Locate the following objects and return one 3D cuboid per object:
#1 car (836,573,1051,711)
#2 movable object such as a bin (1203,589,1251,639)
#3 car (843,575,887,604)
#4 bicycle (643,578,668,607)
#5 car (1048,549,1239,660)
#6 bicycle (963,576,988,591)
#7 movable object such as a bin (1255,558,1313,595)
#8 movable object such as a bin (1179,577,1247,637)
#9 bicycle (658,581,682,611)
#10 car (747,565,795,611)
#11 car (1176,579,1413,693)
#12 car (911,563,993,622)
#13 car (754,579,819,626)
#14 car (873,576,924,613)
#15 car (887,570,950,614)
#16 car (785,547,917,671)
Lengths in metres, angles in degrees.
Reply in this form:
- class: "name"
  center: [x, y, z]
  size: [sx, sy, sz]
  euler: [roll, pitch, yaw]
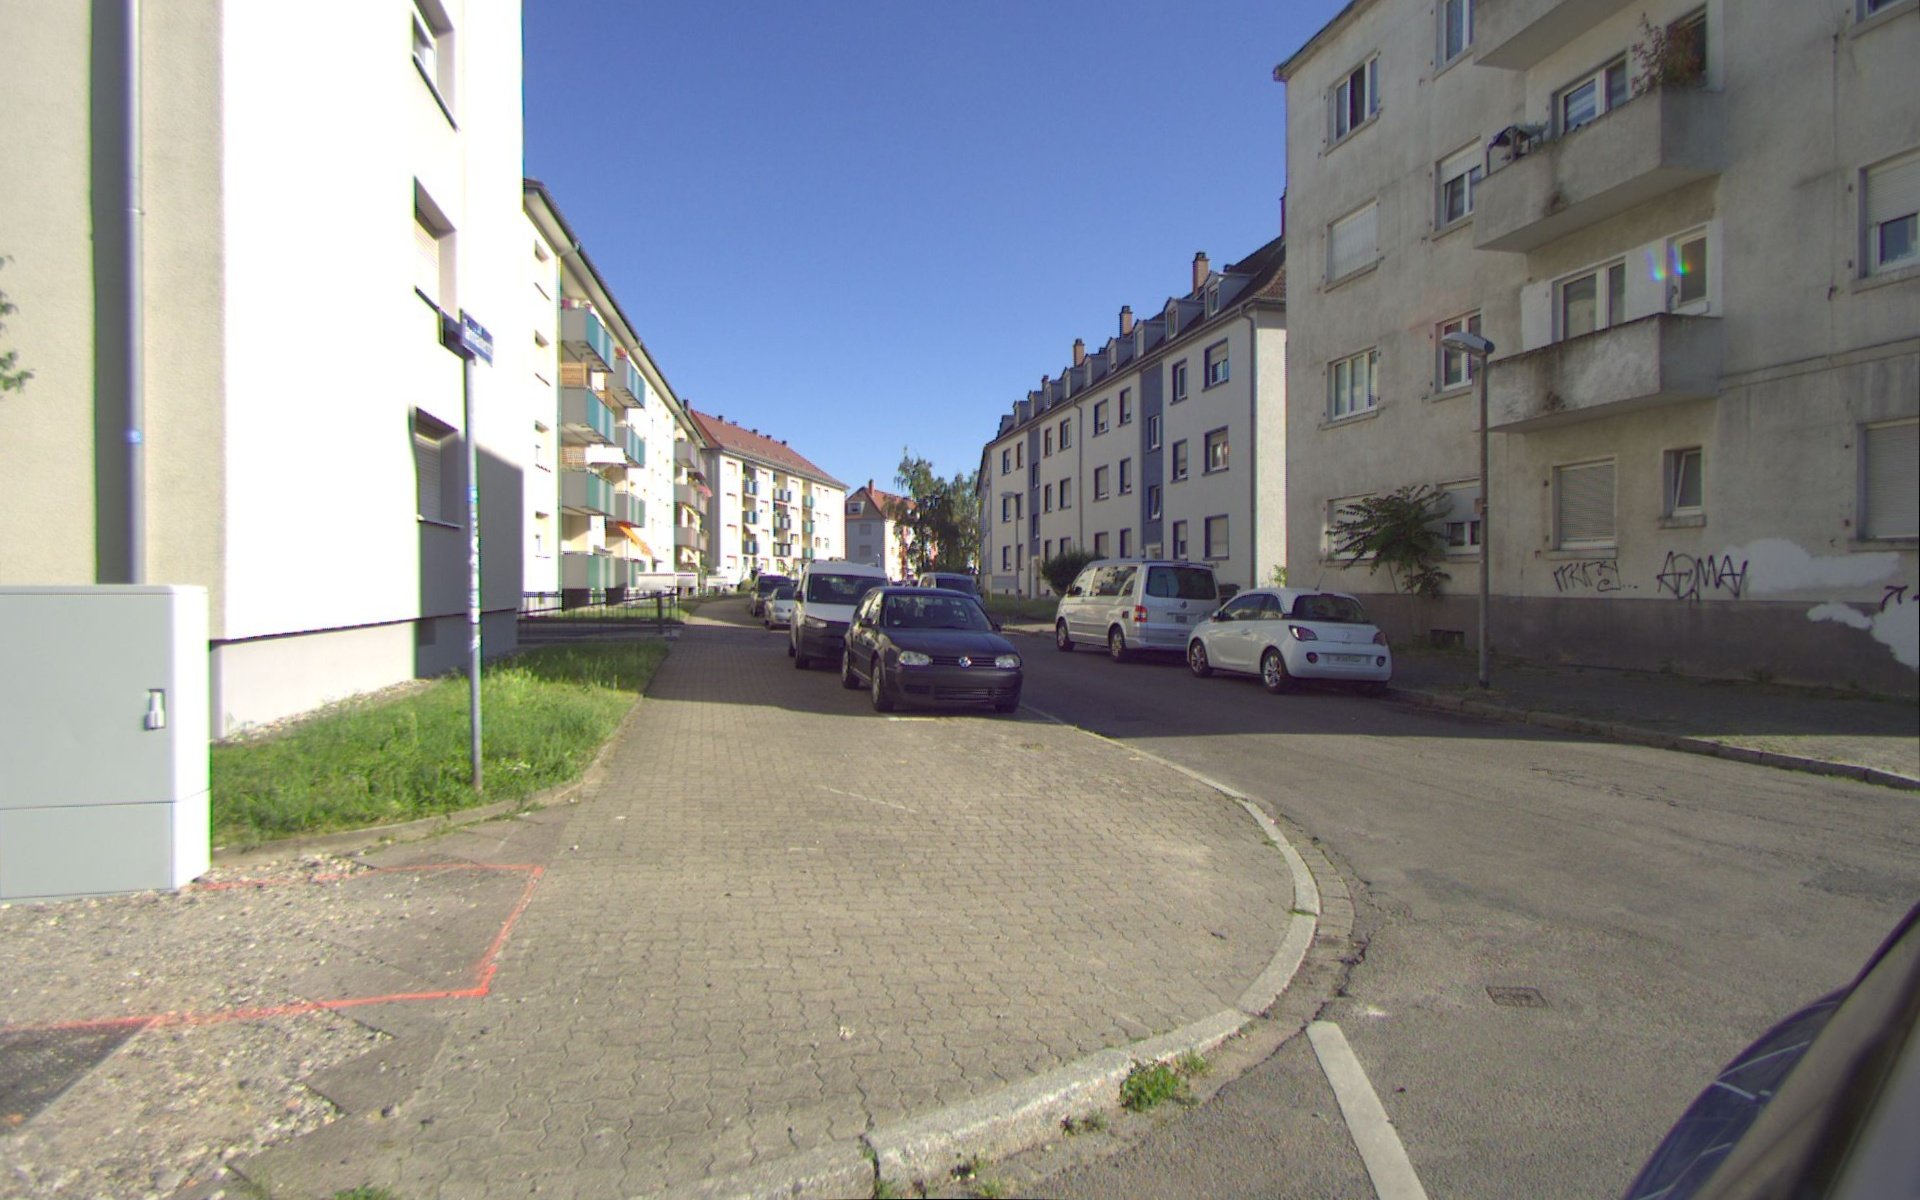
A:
- class: "car"
  center: [-0.398, 0.415, 12.784]
  size: [1.765, 1.433, 4.058]
  euler: [2, 1, -14]
- class: "movable object such as a bin"
  center: [6.143, 0.318, 23.335]
  size: [0.759, 1.092, 0.818]
  euler: [-1, 1, -14]
- class: "car"
  center: [-5.265, -0.605, 55.806]
  size: [1.866, 1.477, 4.405]
  euler: [2, 1, -12]
- class: "bicycle"
  center: [-11.821, -0.307, 39.342]
  size: [0.496, 1.057, 2.077]
  euler: [-2, 2, -6]
- class: "car"
  center: [3.510, 0.040, 20.469]
  size: [1.916, 1.957, 4.867]
  euler: [1, 1, -14]
- class: "bicycle"
  center: [1.091, -1.176, 72.552]
  size: [1.704, 1.001, 0.462]
  euler: [-4, 2, 1]
- class: "movable object such as a bin"
  center: [9.317, -0.686, 29.113]
  size: [1.109, 1.012, 1.207]
  euler: [0, 2, -13]
- class: "movable object such as a bin"
  center: [6.110, 0.144, 24.466]
  size: [1.233, 1.394, 1.047]
  euler: [-2, 1, -14]
- class: "bicycle"
  center: [-11.260, -0.178, 39.355]
  size: [0.496, 1.106, 2.077]
  euler: [-2, 2, -6]
- class: "car"
  center: [-8.329, -0.541, 44.328]
  size: [1.728, 1.862, 4.930]
  euler: [1, 1, -14]
- class: "car"
  center: [4.839, 0.446, 15.217]
  size: [1.657, 1.477, 3.729]
  euler: [1, 1, -13]
- class: "car"
  center: [-0.372, -0.300, 35.467]
  size: [1.768, 1.853, 4.959]
  euler: [2, 1, -13]
- class: "car"
  center: [-5.857, 0.044, 33.869]
  size: [1.711, 1.424, 4.323]
  euler: [1, 1, -15]
- class: "car"
  center: [-2.822, -0.265, 45.748]
  size: [1.614, 1.538, 3.710]
  euler: [3, 0, -13]
- class: "car"
  center: [-1.754, -0.367, 41.151]
  size: [1.643, 1.611, 4.173]
  euler: [3, 0, -14]
- class: "car"
  center: [-2.066, 0.107, 17.953]
  size: [1.766, 1.869, 4.548]
  euler: [2, 1, -12]
